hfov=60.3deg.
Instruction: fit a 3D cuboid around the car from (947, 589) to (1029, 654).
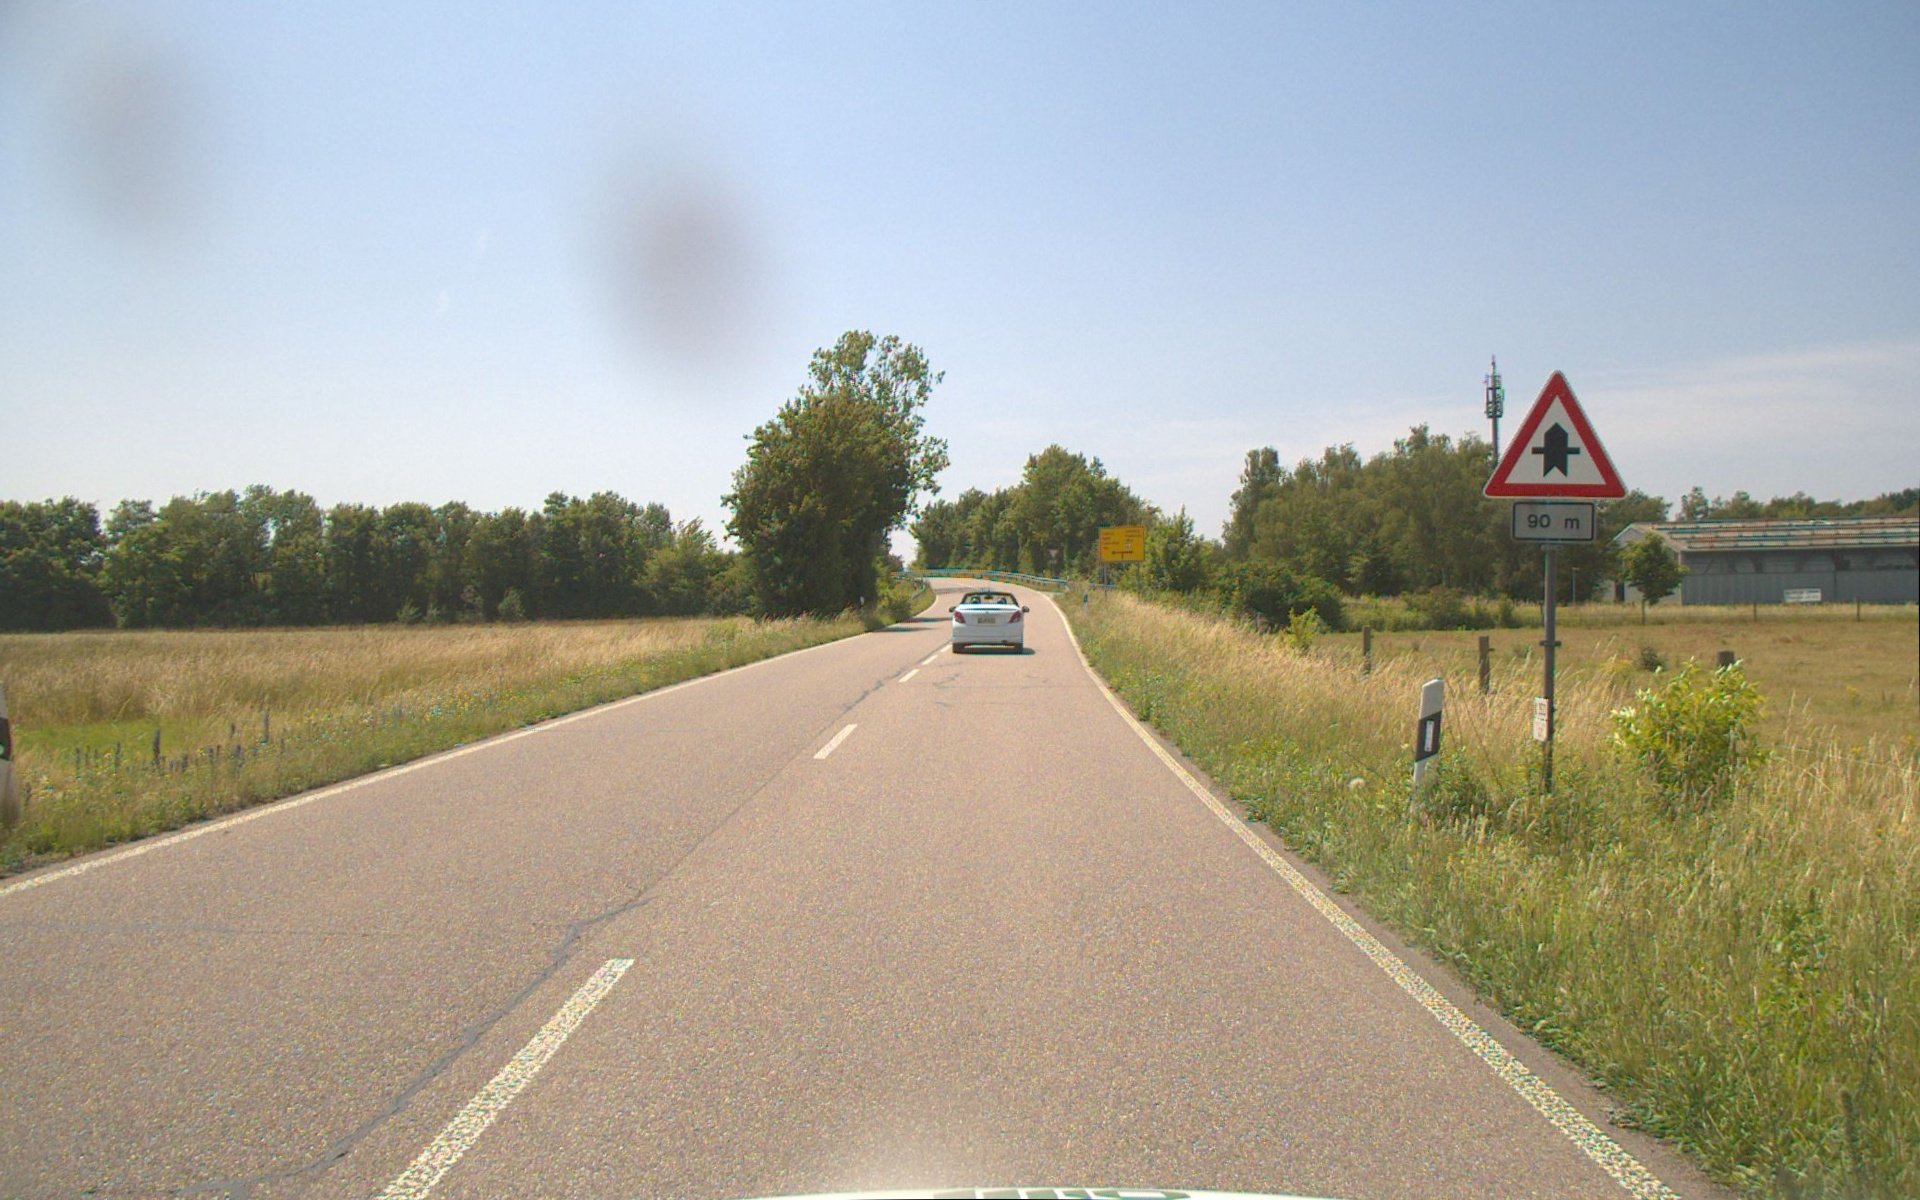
[{"bbox_3d":[0.664,0.481,39.482,1.813,1.403,4.001,-1,1,1],"label":"car"}]
